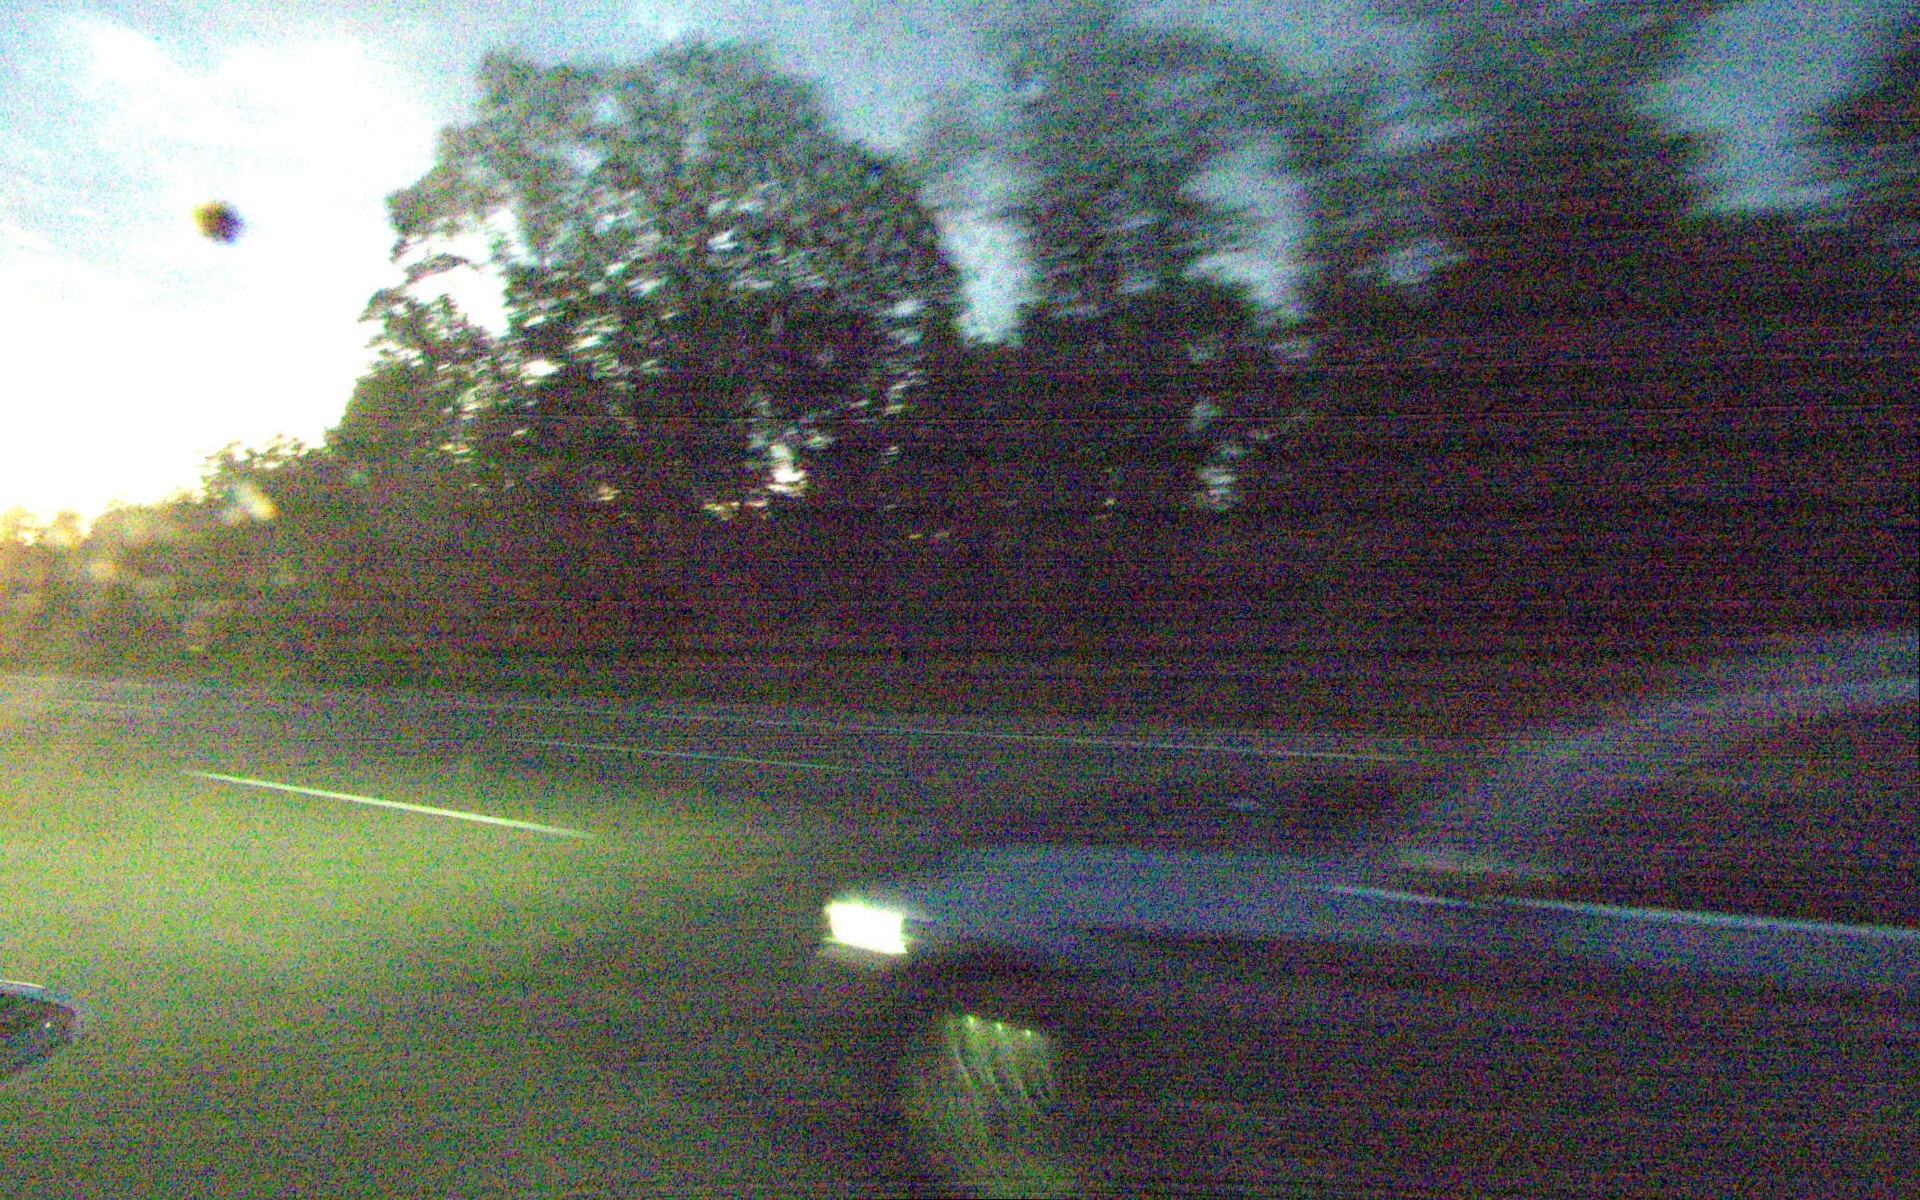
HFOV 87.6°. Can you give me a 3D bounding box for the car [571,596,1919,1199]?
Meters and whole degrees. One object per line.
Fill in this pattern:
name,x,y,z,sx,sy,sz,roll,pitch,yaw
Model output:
car,1.504,0.794,2.538,5.154,1.557,1.906,0,-1,31
